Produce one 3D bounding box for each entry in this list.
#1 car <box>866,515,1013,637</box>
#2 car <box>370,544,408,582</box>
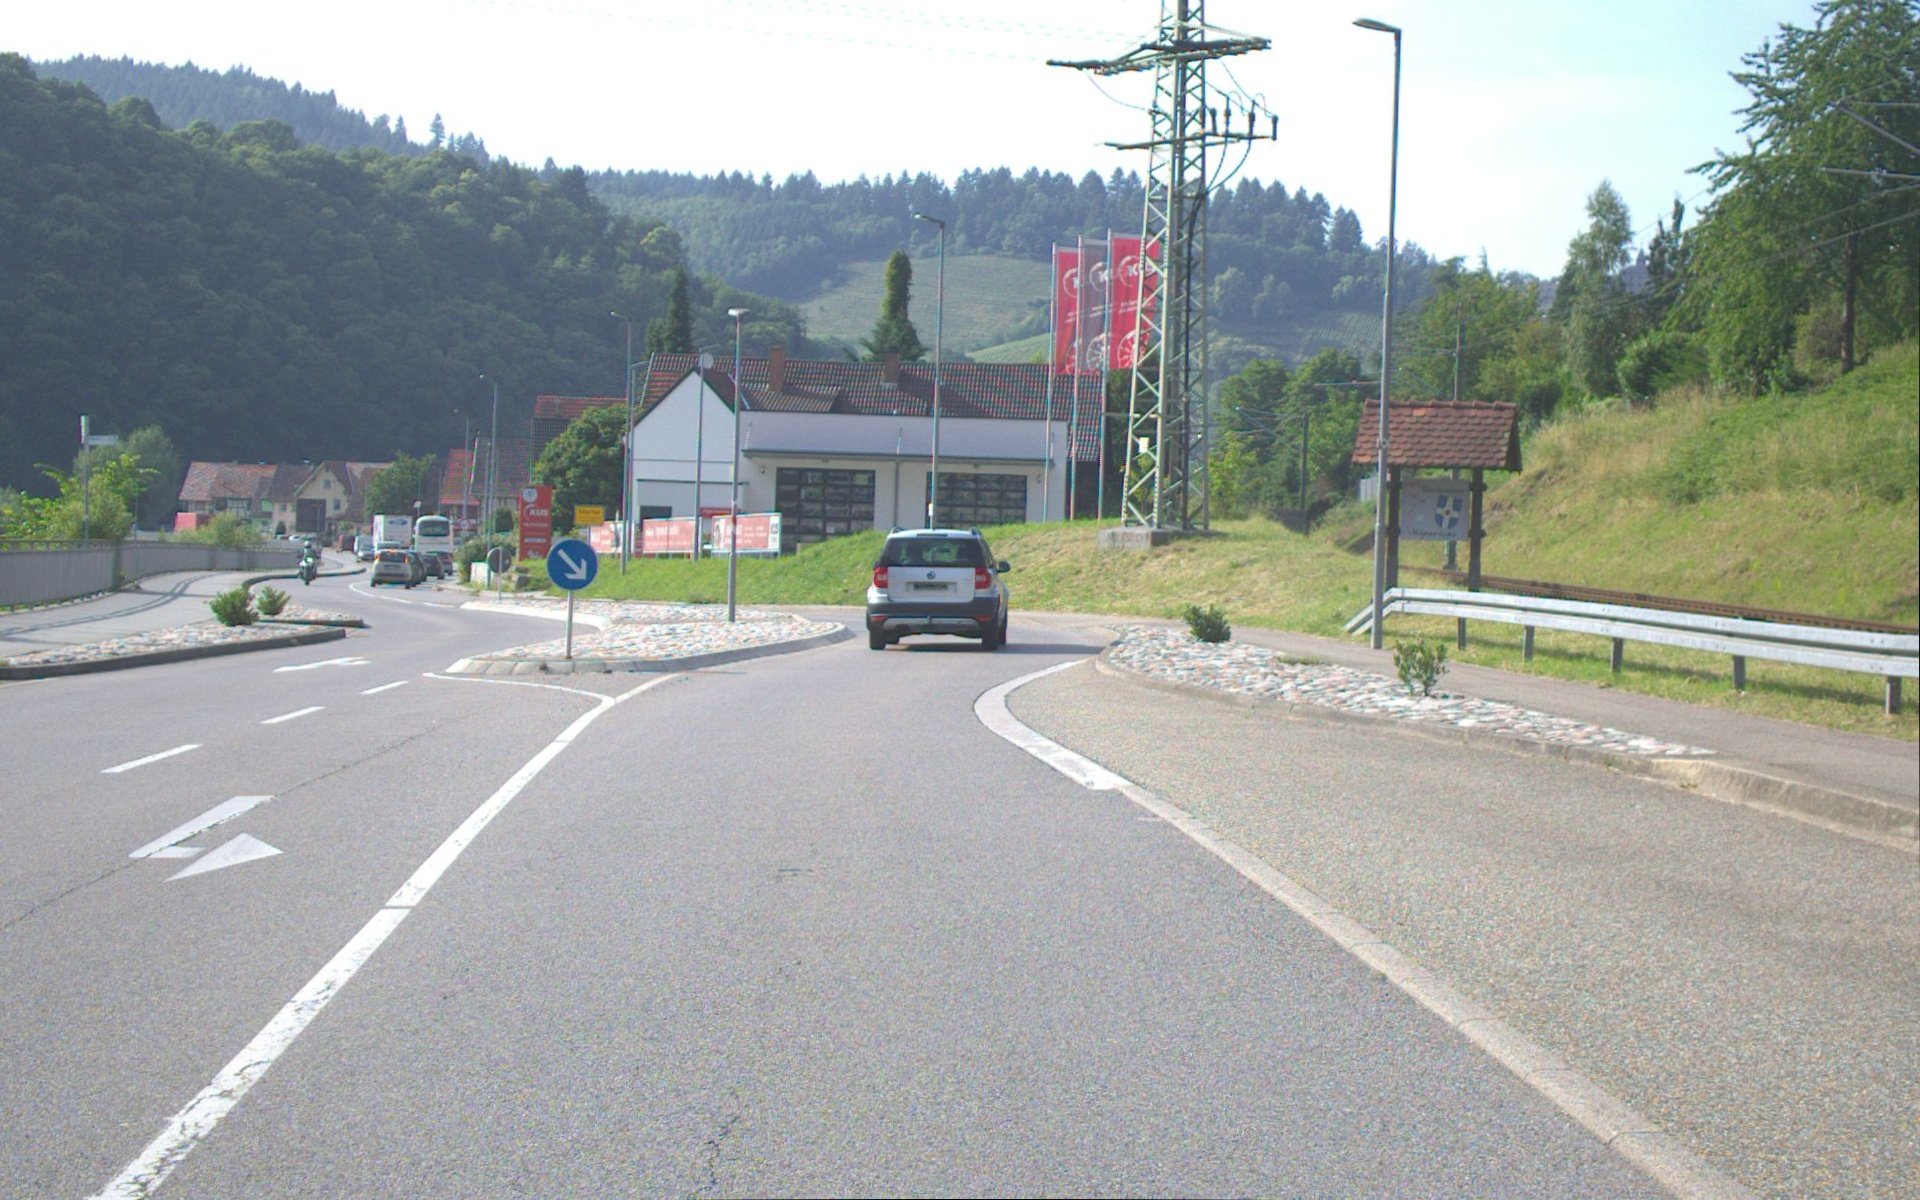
[{"bbox_3d":[-0.332,-0.327,47.814,1.861,1.539,4.373,2,0,-2],"label":"car"},{"bbox_3d":[-23.557,-1.537,141.751,1.453,1.430,2.937,2,1,-10],"label":"car"}]
